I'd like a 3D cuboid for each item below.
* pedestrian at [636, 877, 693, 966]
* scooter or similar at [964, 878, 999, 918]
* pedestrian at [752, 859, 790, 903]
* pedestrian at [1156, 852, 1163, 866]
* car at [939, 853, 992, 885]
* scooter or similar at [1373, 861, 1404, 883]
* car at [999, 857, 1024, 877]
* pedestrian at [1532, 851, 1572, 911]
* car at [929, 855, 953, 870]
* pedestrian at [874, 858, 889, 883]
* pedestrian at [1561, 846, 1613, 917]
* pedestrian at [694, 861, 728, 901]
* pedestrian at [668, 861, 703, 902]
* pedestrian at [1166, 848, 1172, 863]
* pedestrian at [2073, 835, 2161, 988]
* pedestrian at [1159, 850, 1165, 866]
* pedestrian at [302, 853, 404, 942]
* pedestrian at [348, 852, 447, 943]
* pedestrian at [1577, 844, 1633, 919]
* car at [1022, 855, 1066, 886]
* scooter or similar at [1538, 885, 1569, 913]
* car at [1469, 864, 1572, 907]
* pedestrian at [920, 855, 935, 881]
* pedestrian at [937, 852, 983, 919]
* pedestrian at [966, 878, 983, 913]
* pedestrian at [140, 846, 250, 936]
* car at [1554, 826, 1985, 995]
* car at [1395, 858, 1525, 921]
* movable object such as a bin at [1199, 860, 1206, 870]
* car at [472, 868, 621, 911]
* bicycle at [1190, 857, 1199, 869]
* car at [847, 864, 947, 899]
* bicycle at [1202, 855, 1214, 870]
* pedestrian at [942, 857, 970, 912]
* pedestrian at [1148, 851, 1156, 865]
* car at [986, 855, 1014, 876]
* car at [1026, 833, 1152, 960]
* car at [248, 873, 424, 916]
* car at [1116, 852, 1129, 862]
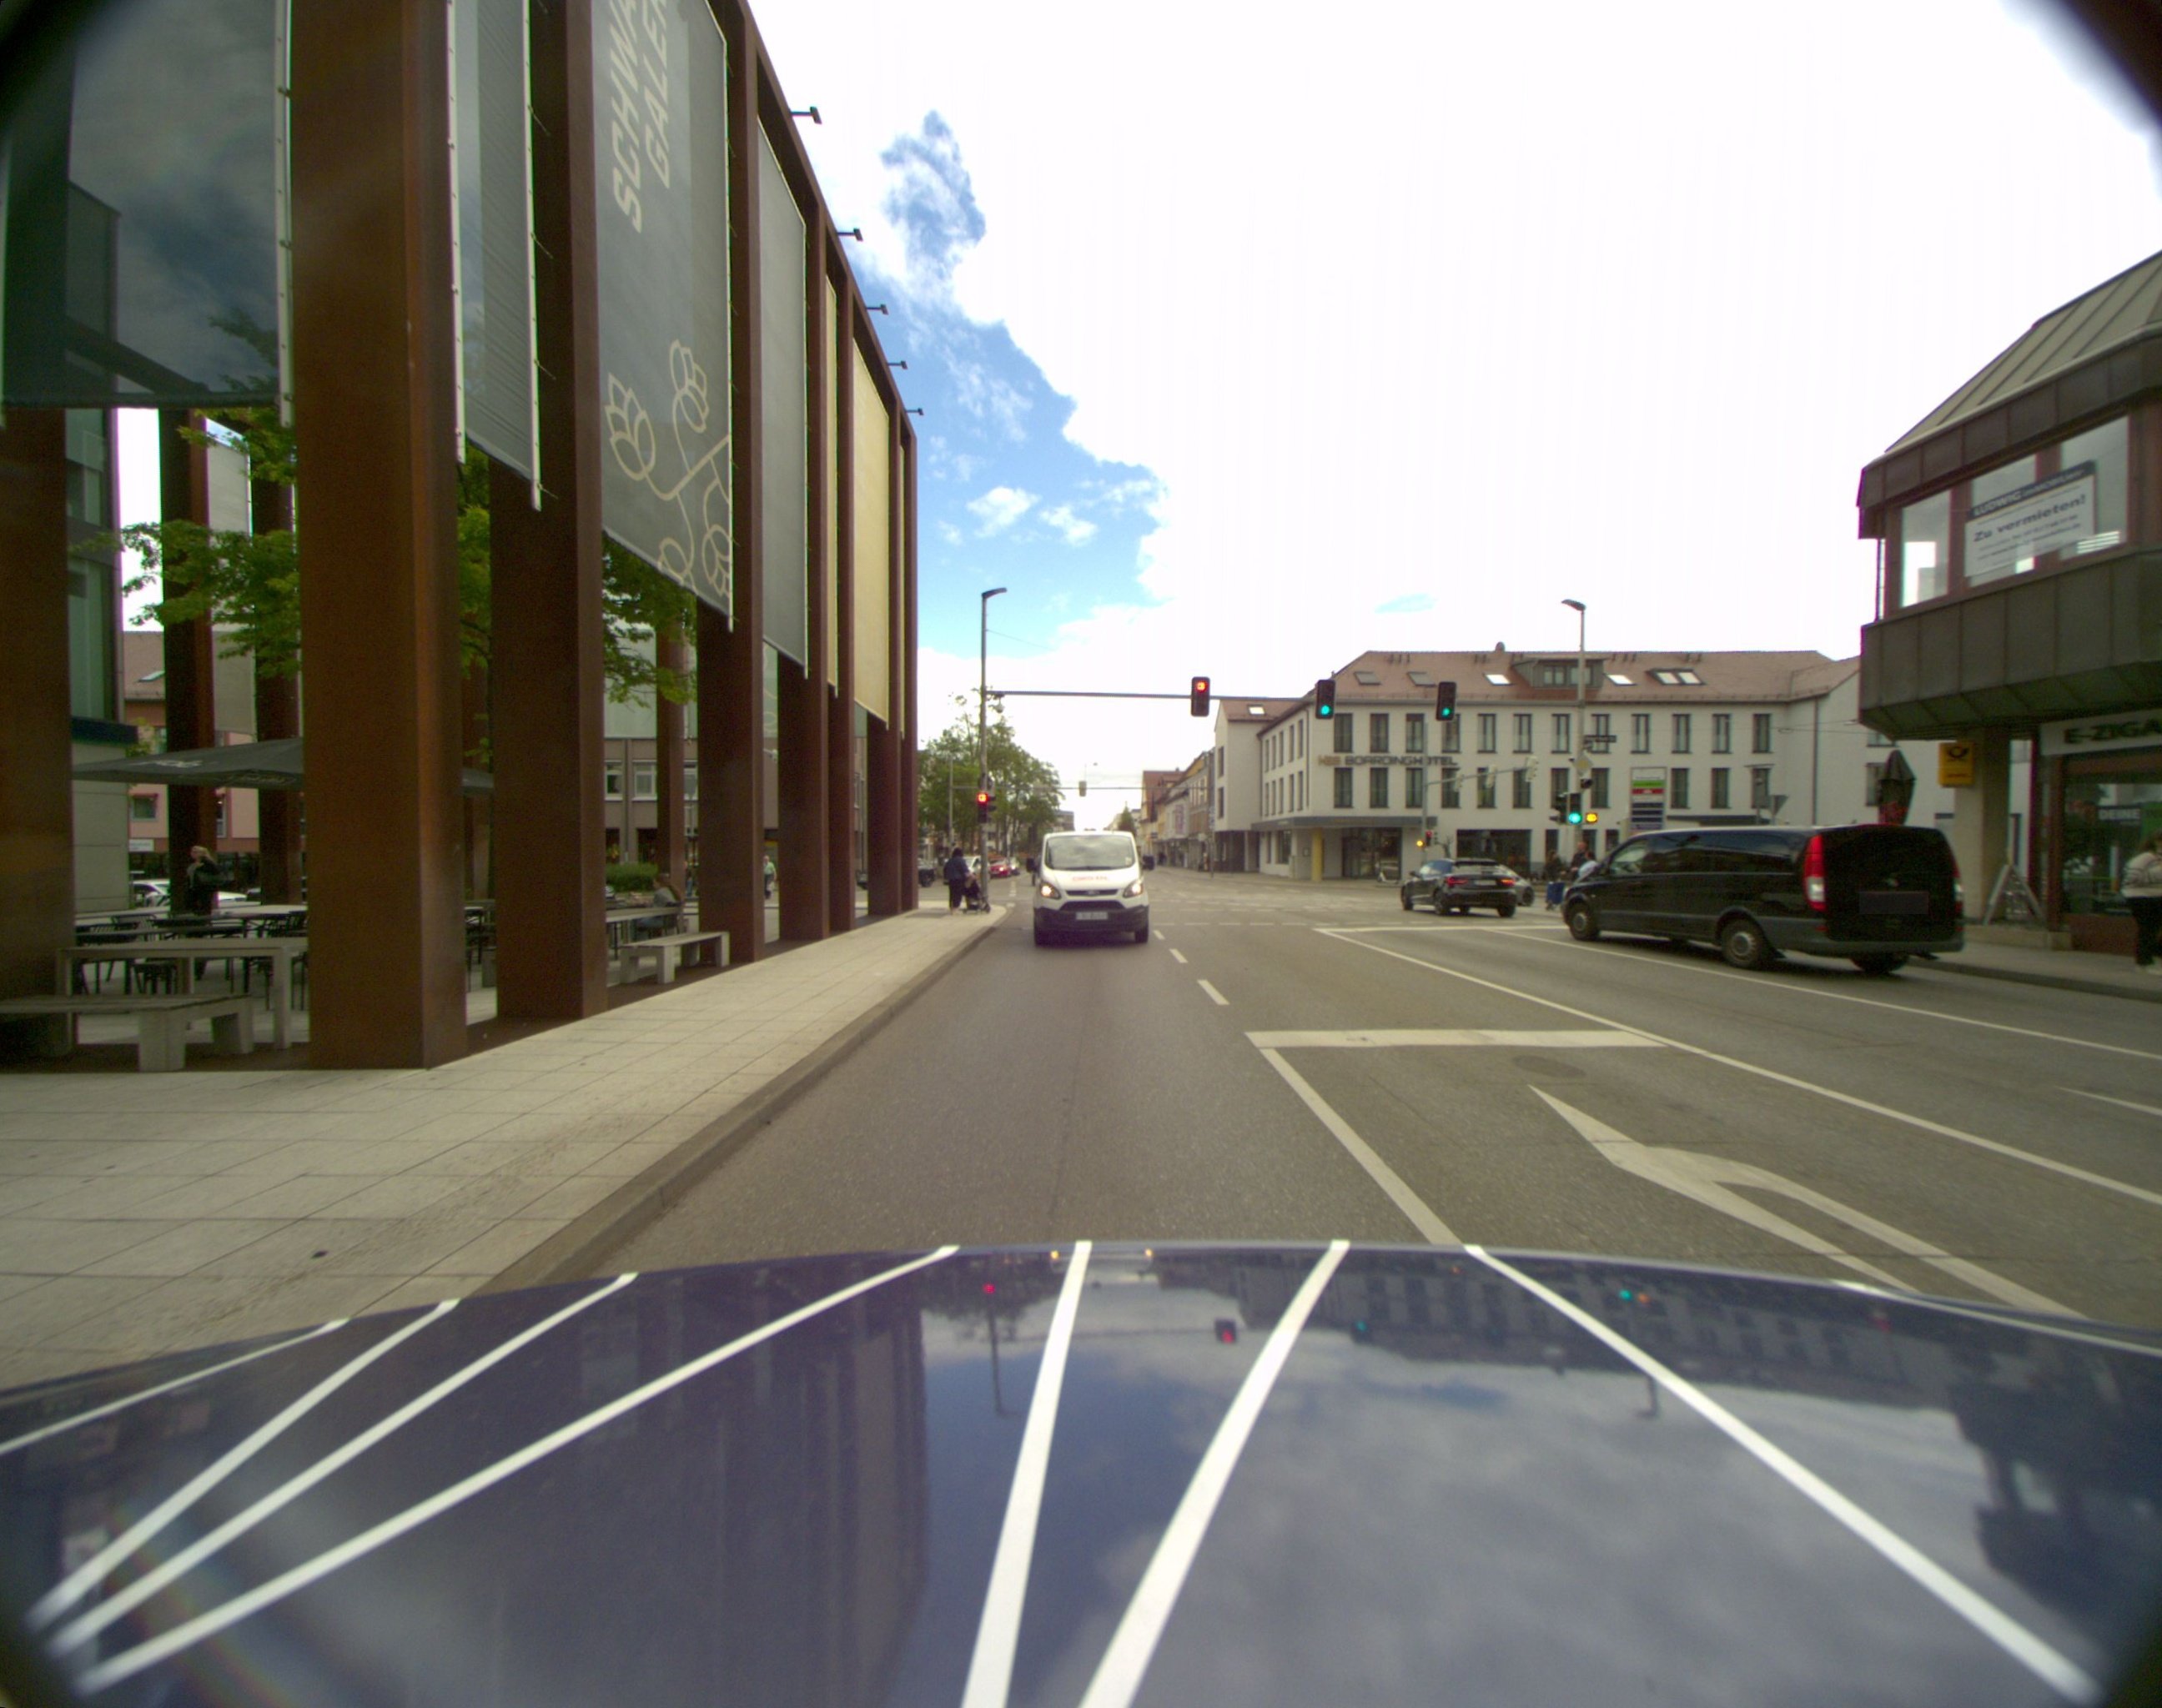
[{"bbox_3d":[-5.974,0.954,10.910,0.448,1.213,0.606,0,1,3],"label":"pedestrian"},{"bbox_3d":[-2.535,1.114,19.412,0.633,0.956,0.622,0,1,34],"label":"scooter or similar"},{"bbox_3d":[-12.367,1.044,30.317,1.058,1.705,1.110,0,1,0],"label":"pedestrian"},{"bbox_3d":[9.231,0.593,89.414,0.812,1.574,0.920,-1,1,1],"label":"pedestrian"},{"bbox_3d":[-6.820,0.864,45.277,1.742,1.691,4.383,-2,0,10],"label":"car"},{"bbox_3d":[17.435,1.002,43.111,0.427,1.152,1.569,-1,3,-41],"label":"scooter or similar"},{"bbox_3d":[-5.814,1.076,63.895,1.802,1.521,3.999,-2,0,-1],"label":"car"},{"bbox_3d":[13.673,0.774,22.072,0.811,1.703,0.703,0,0,13],"label":"pedestrian"},{"bbox_3d":[-15.364,0.875,83.637,1.999,1.539,4.751,1,1,-3],"label":"car"},{"bbox_3d":[-13.079,1.088,49.785,0.743,1.617,0.953,0,1,-3],"label":"pedestrian"},{"bbox_3d":[13.129,0.689,19.729,0.812,1.797,0.745,-1,1,-8],"label":"pedestrian"},{"bbox_3d":[-14.538,1.054,29.894,0.832,1.549,0.969,-1,1,0],"label":"pedestrian"},{"bbox_3d":[-15.511,1.059,29.820,0.832,1.575,1.058,-1,1,-2],"label":"pedestrian"},{"bbox_3d":[10.536,0.198,90.963,0.708,1.771,0.870,0,1,2],"label":"pedestrian"},{"bbox_3d":[12.211,0.631,8.678,0.751,1.683,0.777,0,1,-4],"label":"pedestrian"},{"bbox_3d":[9.697,0.472,90.983,0.708,1.828,1.028,0,1,2],"label":"pedestrian"},{"bbox_3d":[-14.135,0.813,14.789,0.881,1.671,1.120,0,1,-2],"label":"pedestrian"},{"bbox_3d":[-13.090,0.801,14.593,0.881,1.671,1.120,0,1,-2],"label":"pedestrian"},{"bbox_3d":[13.024,0.666,18.900,0.812,1.797,0.774,-1,1,-8],"label":"pedestrian"},{"bbox_3d":[-1.889,0.835,40.101,1.998,1.490,4.000,0,0,1],"label":"car"},{"bbox_3d":[12.663,1.208,20.372,0.455,0.722,0.538,-1,0,-7],"label":"scooter or similar"},{"bbox_3d":[16.850,1.180,29.046,4.395,1.508,1.759,1,0,-36],"label":"car"},{"bbox_3d":[-9.908,0.907,49.122,0.743,1.617,0.953,-2,1,-3],"label":"pedestrian"},{"bbox_3d":[-3.006,0.768,18.899,0.870,1.637,0.682,0,1,35],"label":"pedestrian"},{"bbox_3d":[-2.805,1.090,20.071,0.362,0.918,0.454,0,0,3],"label":"pedestrian"},{"bbox_3d":[-17.869,0.716,15.359,0.881,1.757,1.120,0,1,-2],"label":"pedestrian"},{"bbox_3d":[9.370,0.630,11.110,1.870,1.898,4.898,1,0,1],"label":"car"},{"bbox_3d":[9.728,0.845,19.846,1.705,1.435,4.001,0,0,5],"label":"car"},{"bbox_3d":[10.587,0.953,66.339,0.552,0.894,0.507,-1,1,-1],"label":"movable object such as a bin"},{"bbox_3d":[-19.796,1.297,28.266,4.184,1.396,1.800,-1,0,-2],"label":"car"},{"bbox_3d":[10.480,0.825,70.427,0.573,1.094,1.902,-1,0,1],"label":"bicycle"},{"bbox_3d":[-9.713,1.427,40.377,1.852,1.600,4.871,-2,0,44],"label":"car"},{"bbox_3d":[10.666,0.723,63.728,0.583,1.225,2.119,-1,0,-1],"label":"bicycle"},{"bbox_3d":[-3.303,0.801,20.101,0.602,1.412,0.582,0,0,3],"label":"pedestrian"},{"bbox_3d":[8.326,0.494,89.377,0.812,1.651,0.920,-1,1,1],"label":"pedestrian"},{"bbox_3d":[-6.018,0.855,56.835,1.630,1.440,3.642,-2,0,1],"label":"car"},{"bbox_3d":[0.156,0.666,15.050,1.940,1.968,5.779,-2,0,1],"label":"car"},{"bbox_3d":[-26.888,1.443,27.535,4.546,1.396,1.800,-1,0,0],"label":"car"},{"bbox_3d":[6.227,0.430,113.255,1.748,1.450,4.235,0,0,0],"label":"car"}]
